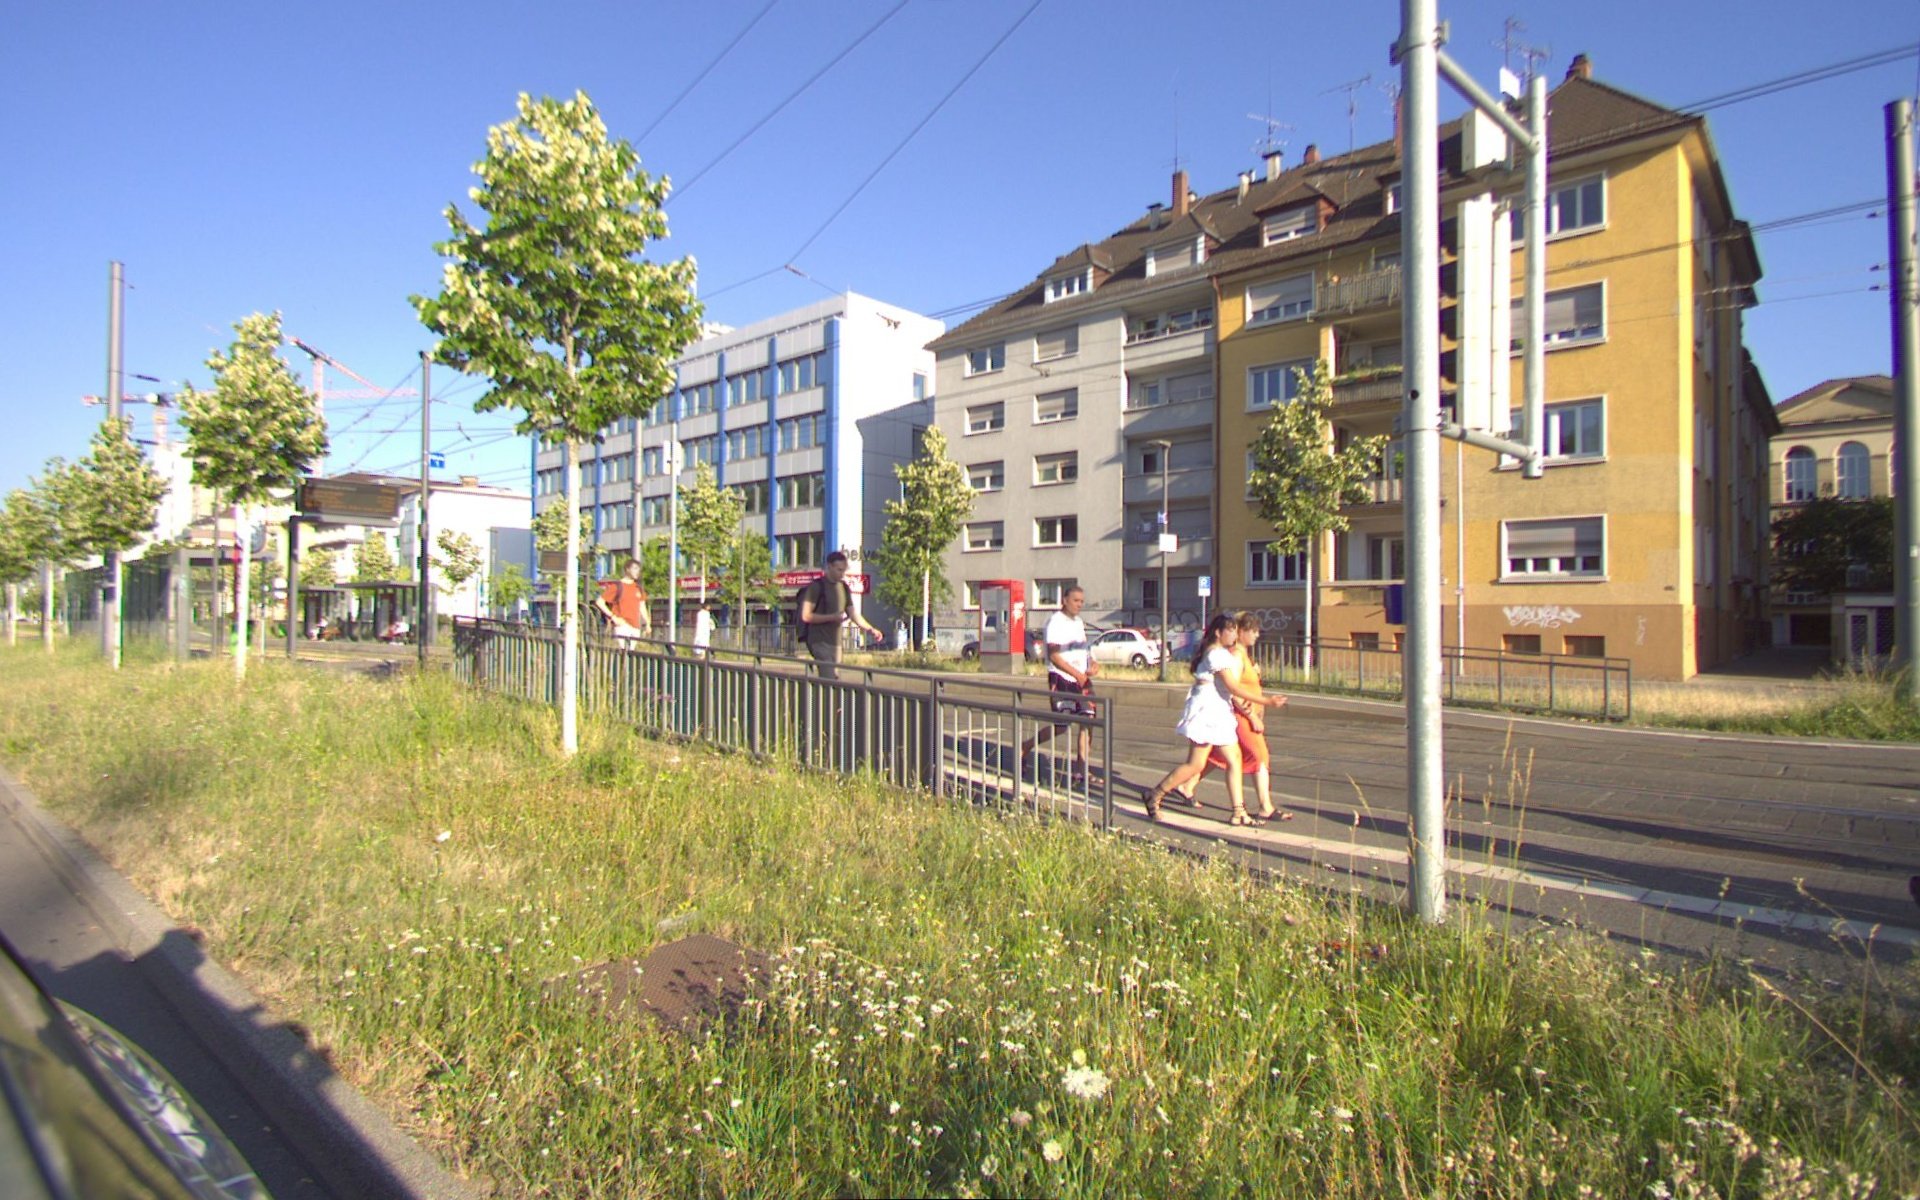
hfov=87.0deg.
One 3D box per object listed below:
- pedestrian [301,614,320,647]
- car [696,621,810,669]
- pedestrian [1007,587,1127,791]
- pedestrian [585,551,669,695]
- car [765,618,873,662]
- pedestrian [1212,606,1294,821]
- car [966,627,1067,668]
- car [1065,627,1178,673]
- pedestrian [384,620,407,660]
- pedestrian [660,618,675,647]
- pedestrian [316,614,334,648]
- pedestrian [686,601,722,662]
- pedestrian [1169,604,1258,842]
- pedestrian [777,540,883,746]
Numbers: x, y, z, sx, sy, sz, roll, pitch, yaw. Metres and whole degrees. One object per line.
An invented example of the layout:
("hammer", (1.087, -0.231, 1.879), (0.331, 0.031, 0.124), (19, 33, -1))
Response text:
("pedestrian", (-33.615, 1.577, 52.388), (0.772, 1.705, 0.651), (-1, 0, 44))
("car", (-7.228, 1.520, 35.149), (3.941, 1.519, 1.861), (-1, 0, 41))
("pedestrian", (0.880, 0.679, 8.271), (0.619, 1.560, 0.777), (3, 2, 41))
("pedestrian", (-4.120, 0.277, 12.530), (0.620, 1.711, 0.776), (-1, 0, 44))
("car", (-5.276, 1.450, 37.691), (3.941, 1.519, 1.861), (-1, 0, 41))
("pedestrian", (2.092, 0.769, 7.206), (0.520, 1.442, 0.634), (-1, 0, 19))
("car", (2.220, 1.861, 40.505), (3.672, 1.519, 1.861), (-1, 0, 41))
("car", (5.935, 1.813, 37.368), (3.672, 1.519, 1.861), (-1, 0, 41))
("pedestrian", (-24.601, 1.737, 44.103), (0.771, 1.705, 0.651), (-1, 0, 39))
("pedestrian", (-18.077, 2.027, 62.534), (0.636, 1.759, 0.599), (-1, 0, -42))
("pedestrian", (-31.899, 1.555, 50.849), (0.650, 1.705, 0.773), (-1, 0, -43))
("pedestrian", (-7.337, 0.890, 29.016), (0.620, 1.685, 0.776), (-1, 0, 44))
("pedestrian", (1.679, 0.767, 6.665), (0.520, 1.467, 0.634), (-1, 0, 18))
("pedestrian", (-1.246, 0.392, 9.735), (0.620, 1.878, 0.776), (-1, 0, 44))
